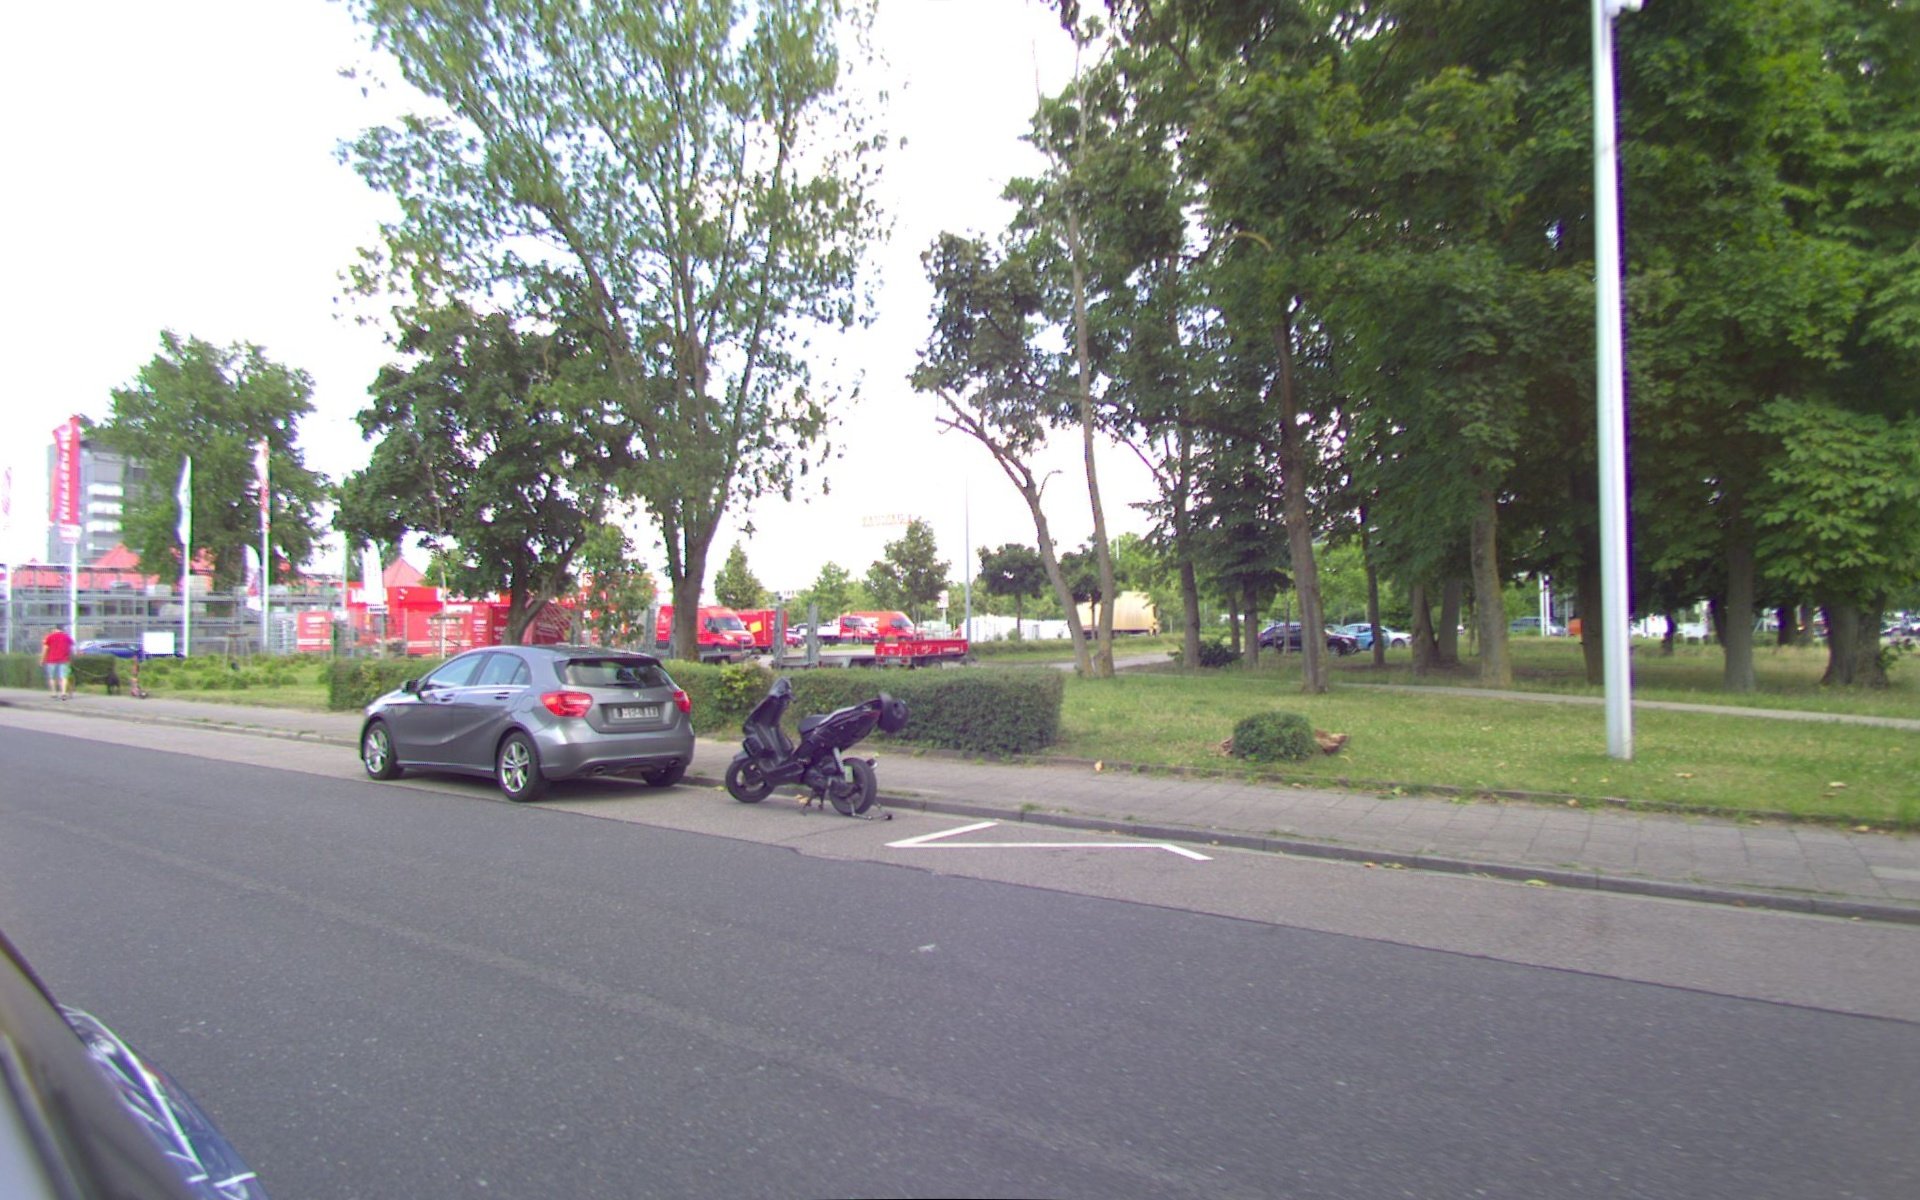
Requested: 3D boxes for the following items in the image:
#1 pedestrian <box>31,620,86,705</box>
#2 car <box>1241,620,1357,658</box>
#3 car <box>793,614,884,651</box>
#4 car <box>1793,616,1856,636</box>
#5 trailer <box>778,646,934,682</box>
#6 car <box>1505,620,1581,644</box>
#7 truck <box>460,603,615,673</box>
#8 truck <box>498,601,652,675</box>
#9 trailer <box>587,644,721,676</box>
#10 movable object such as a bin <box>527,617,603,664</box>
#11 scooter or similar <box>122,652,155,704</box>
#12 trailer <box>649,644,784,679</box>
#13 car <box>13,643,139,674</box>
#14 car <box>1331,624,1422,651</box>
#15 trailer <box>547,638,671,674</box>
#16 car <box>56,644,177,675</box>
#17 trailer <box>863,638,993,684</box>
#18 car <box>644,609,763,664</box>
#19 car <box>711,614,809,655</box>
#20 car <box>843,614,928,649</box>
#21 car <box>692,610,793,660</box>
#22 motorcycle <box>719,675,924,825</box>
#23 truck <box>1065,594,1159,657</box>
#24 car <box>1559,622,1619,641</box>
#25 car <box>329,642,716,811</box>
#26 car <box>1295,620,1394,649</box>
[{"bbox_3d":[-22.216,1.522,24.942,0.883,2.029,0.803,-2,-2,34],"label":"pedestrian"},{"bbox_3d":[14.177,1.617,42.384,4.345,1.523,1.555,-1,-2,34],"label":"car"},{"bbox_3d":[-8.575,2.245,70.952,6.421,2.434,2.247,0,-1,34],"label":"car"},{"bbox_3d":[80.434,2.460,94.194,1.859,1.798,4.012,0,-2,-20],"label":"car"},{"bbox_3d":[-3.098,1.923,30.897,2.185,0.920,4.549,-3,-3,39],"label":"trailer"},{"bbox_3d":[54.032,2.949,93.938,2.173,2.092,5.929,0,-1,-22],"label":"car"},{"bbox_3d":[-17.011,1.469,41.087,1.812,2.613,5.703,0,-1,36],"label":"truck"},{"bbox_3d":[-14.664,1.394,38.872,1.775,2.613,5.501,0,-1,34],"label":"truck"},{"bbox_3d":[-10.798,2.093,36.009,2.152,0.919,4.202,0,-1,32],"label":"trailer"},{"bbox_3d":[-20.081,2.068,51.411,3.536,2.292,1.977,-2,-2,35],"label":"movable object such as a bin"},{"bbox_3d":[-20.157,1.898,24.813,0.511,1.202,1.280,0,-1,-45],"label":"scooter or similar"},{"bbox_3d":[-8.095,2.024,33.978,2.017,0.919,4.202,0,-1,32],"label":"trailer"},{"bbox_3d":[-46.319,3.045,53.133,1.950,1.465,4.643,-2,-2,35],"label":"car"},{"bbox_3d":[23.194,2.067,56.369,4.400,1.423,1.977,-2,-2,34],"label":"car"},{"bbox_3d":[-12.852,2.025,37.273,1.666,1.129,4.202,0,-1,32],"label":"trailer"},{"bbox_3d":[-42.223,2.946,50.749,1.925,1.387,4.326,-2,-2,36],"label":"car"},{"bbox_3d":[-0.873,1.747,29.505,1.713,1.200,3.778,-3,-3,40],"label":"trailer"},{"bbox_3d":[-13.145,1.775,51.746,6.423,2.613,2.247,0,-1,35],"label":"car"},{"bbox_3d":[-12.873,2.157,64.899,6.421,2.434,2.247,0,-1,34],"label":"car"},{"bbox_3d":[-5.645,2.333,76.328,6.421,2.434,2.247,0,-1,34],"label":"car"},{"bbox_3d":[-12.194,1.881,56.559,5.710,2.613,2.247,0,-1,35],"label":"car"},{"bbox_3d":[-1.220,1.243,8.770,1.798,1.147,0.616,-2,-5,35],"label":"motorcycle"},{"bbox_3d":[10.359,1.633,68.042,2.980,3.979,8.253,0,-1,34],"label":"truck"},{"bbox_3d":[53.702,2.693,86.481,1.887,1.524,4.013,0,-1,-23],"label":"car"},{"bbox_3d":[-4.659,1.188,10.554,4.321,1.431,1.694,-2,-5,36],"label":"car"},{"bbox_3d":[19.703,1.772,51.944,4.400,1.423,1.977,-2,-2,34],"label":"car"}]
